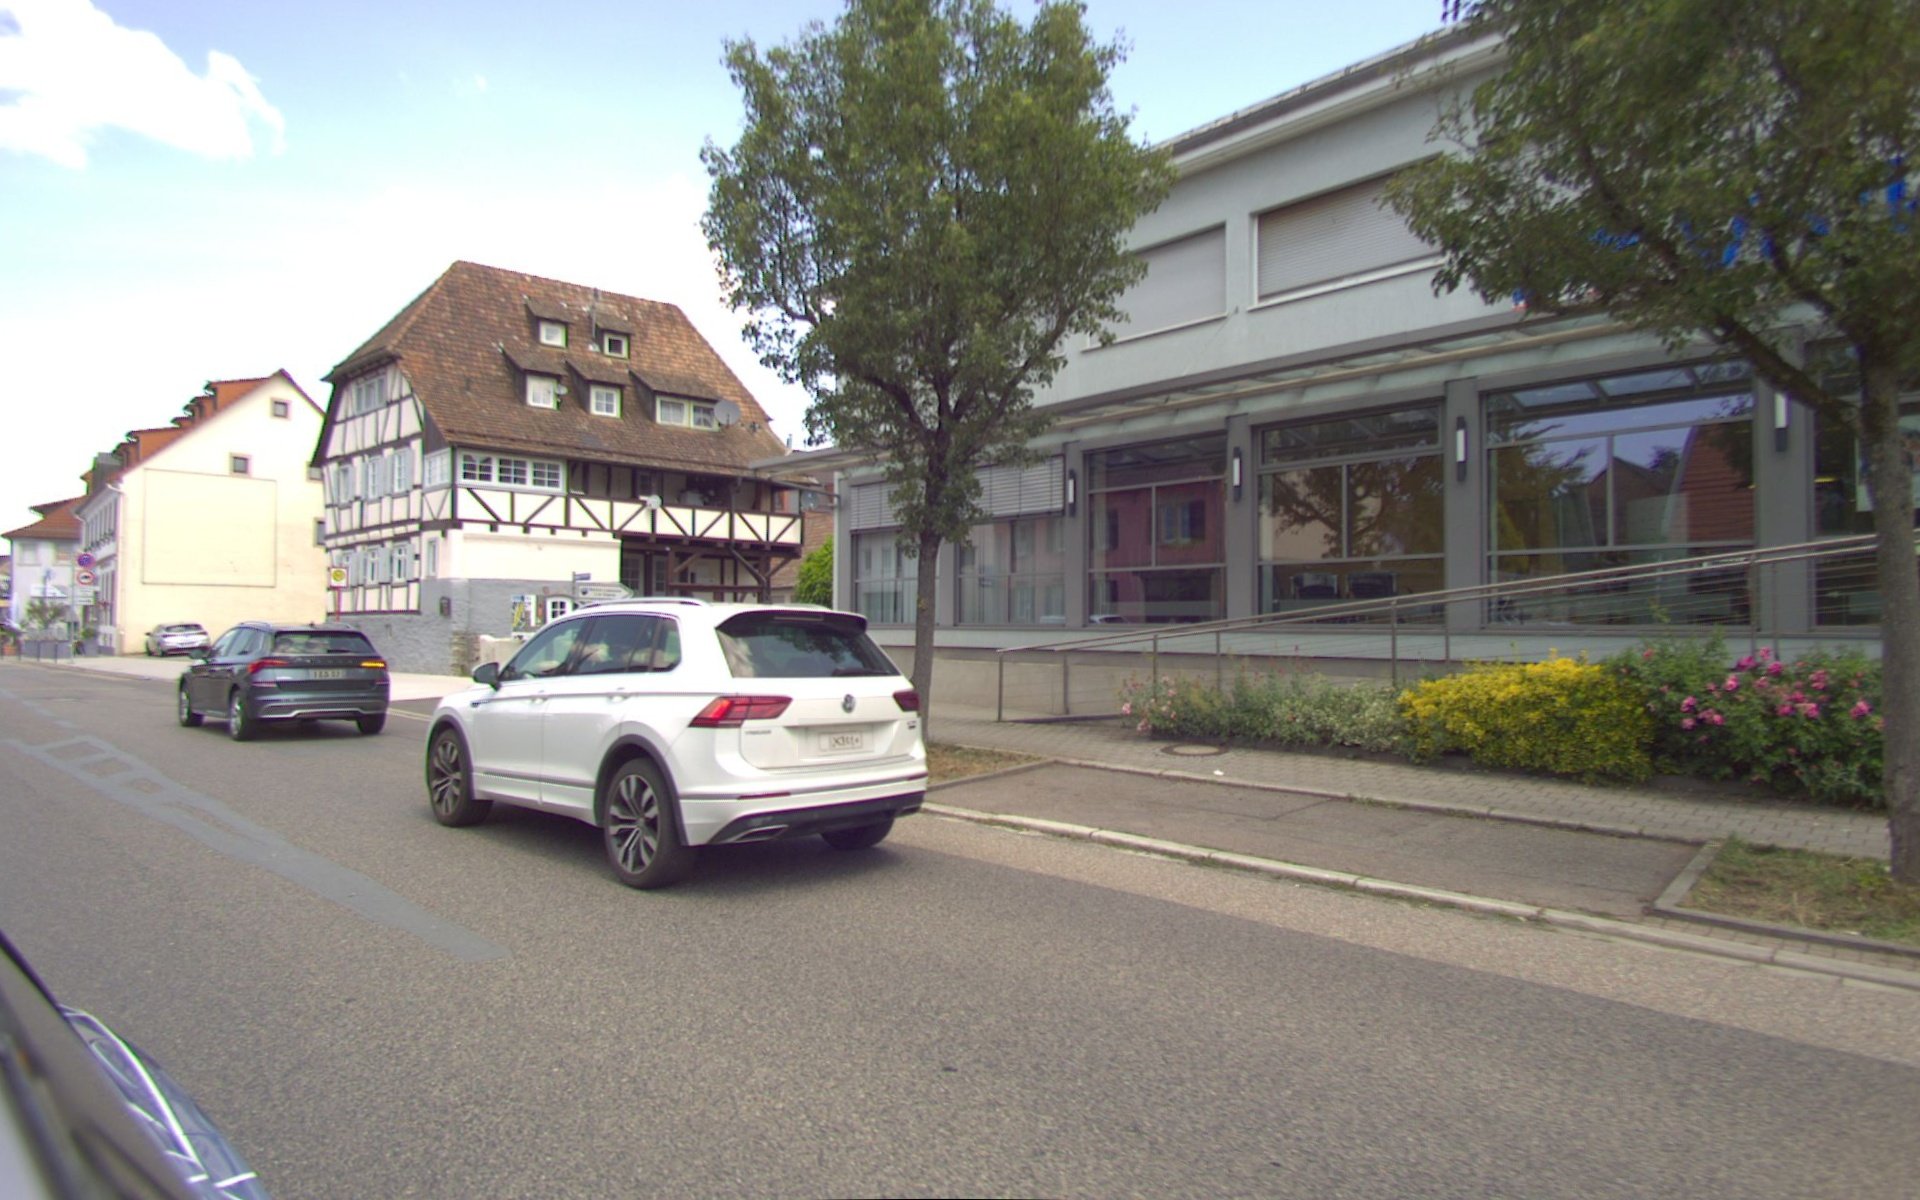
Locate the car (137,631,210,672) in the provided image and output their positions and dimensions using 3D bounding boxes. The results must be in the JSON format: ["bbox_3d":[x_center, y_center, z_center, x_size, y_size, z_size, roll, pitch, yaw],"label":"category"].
[{"bbox_3d":[-34.377,2.212,44.196,4.275,1.503,1.740,-1,2,42],"label":"car"}]

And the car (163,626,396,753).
[{"bbox_3d":[-9.667,1.178,14.260,4.018,1.538,1.724,-2,-4,42],"label":"car"}]

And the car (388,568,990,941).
[{"bbox_3d":[-2.175,0.835,7.212,4.651,1.798,1.933,-2,-4,43],"label":"car"}]
